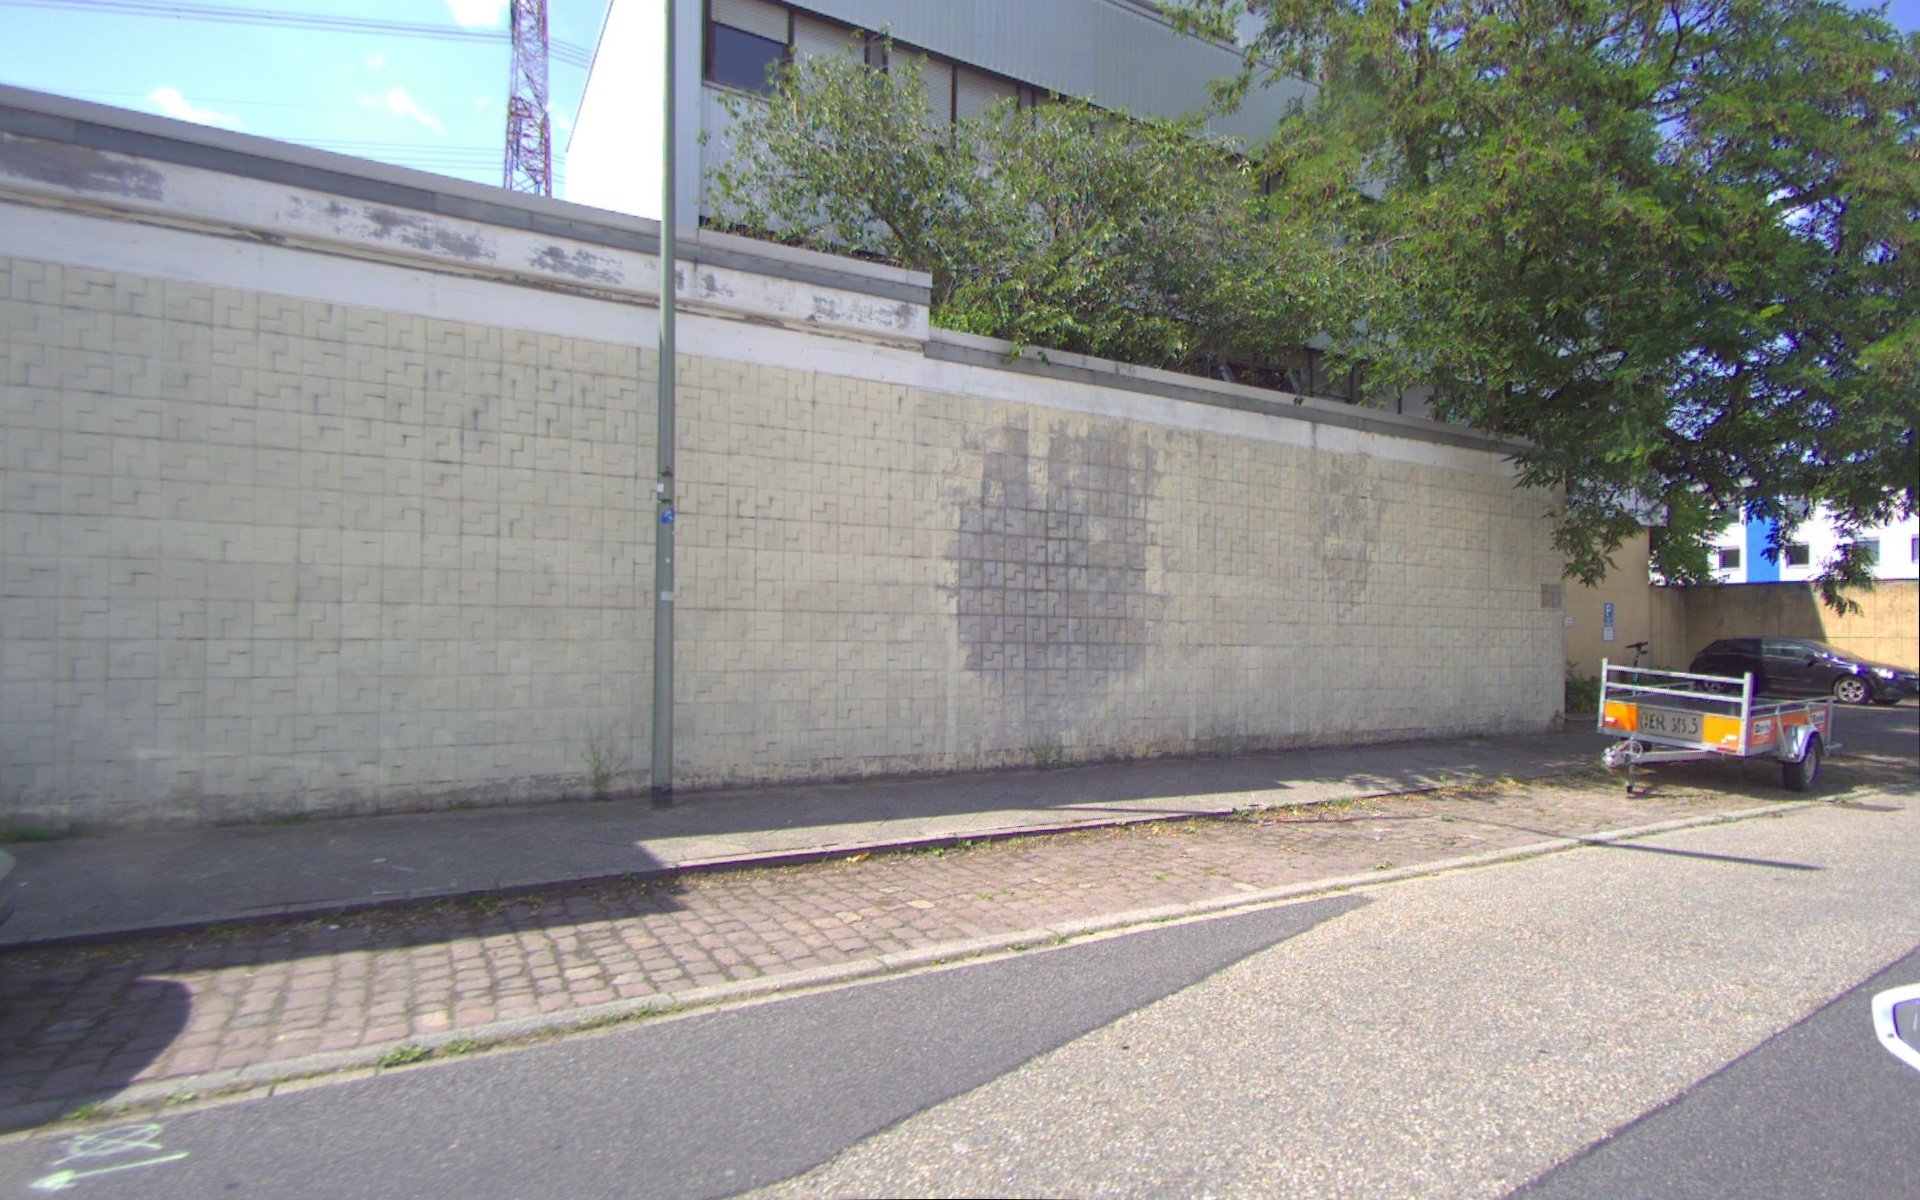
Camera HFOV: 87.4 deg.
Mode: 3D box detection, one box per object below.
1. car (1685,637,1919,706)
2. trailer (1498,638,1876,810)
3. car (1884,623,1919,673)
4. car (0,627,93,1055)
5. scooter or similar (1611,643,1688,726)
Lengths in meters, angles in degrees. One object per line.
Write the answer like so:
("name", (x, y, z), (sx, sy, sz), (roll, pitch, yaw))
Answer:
("car", (19.132, 1.558, 22.825), (1.771, 1.380, 3.979), (2, -2, -26))
("trailer", (8.014, 1.215, 10.988), (4.285, 1.458, 1.758), (2, 1, -31))
("car", (34.614, 1.669, 34.681), (1.857, 1.731, 3.630), (2, -2, -30))
("car", (-5.455, 0.813, 2.690), (4.461, 1.474, 1.665), (2, 0, -31))
("scooter or similar", (11.428, 1.387, 16.645), (1.345, 1.296, 0.480), (2, 1, -30))
